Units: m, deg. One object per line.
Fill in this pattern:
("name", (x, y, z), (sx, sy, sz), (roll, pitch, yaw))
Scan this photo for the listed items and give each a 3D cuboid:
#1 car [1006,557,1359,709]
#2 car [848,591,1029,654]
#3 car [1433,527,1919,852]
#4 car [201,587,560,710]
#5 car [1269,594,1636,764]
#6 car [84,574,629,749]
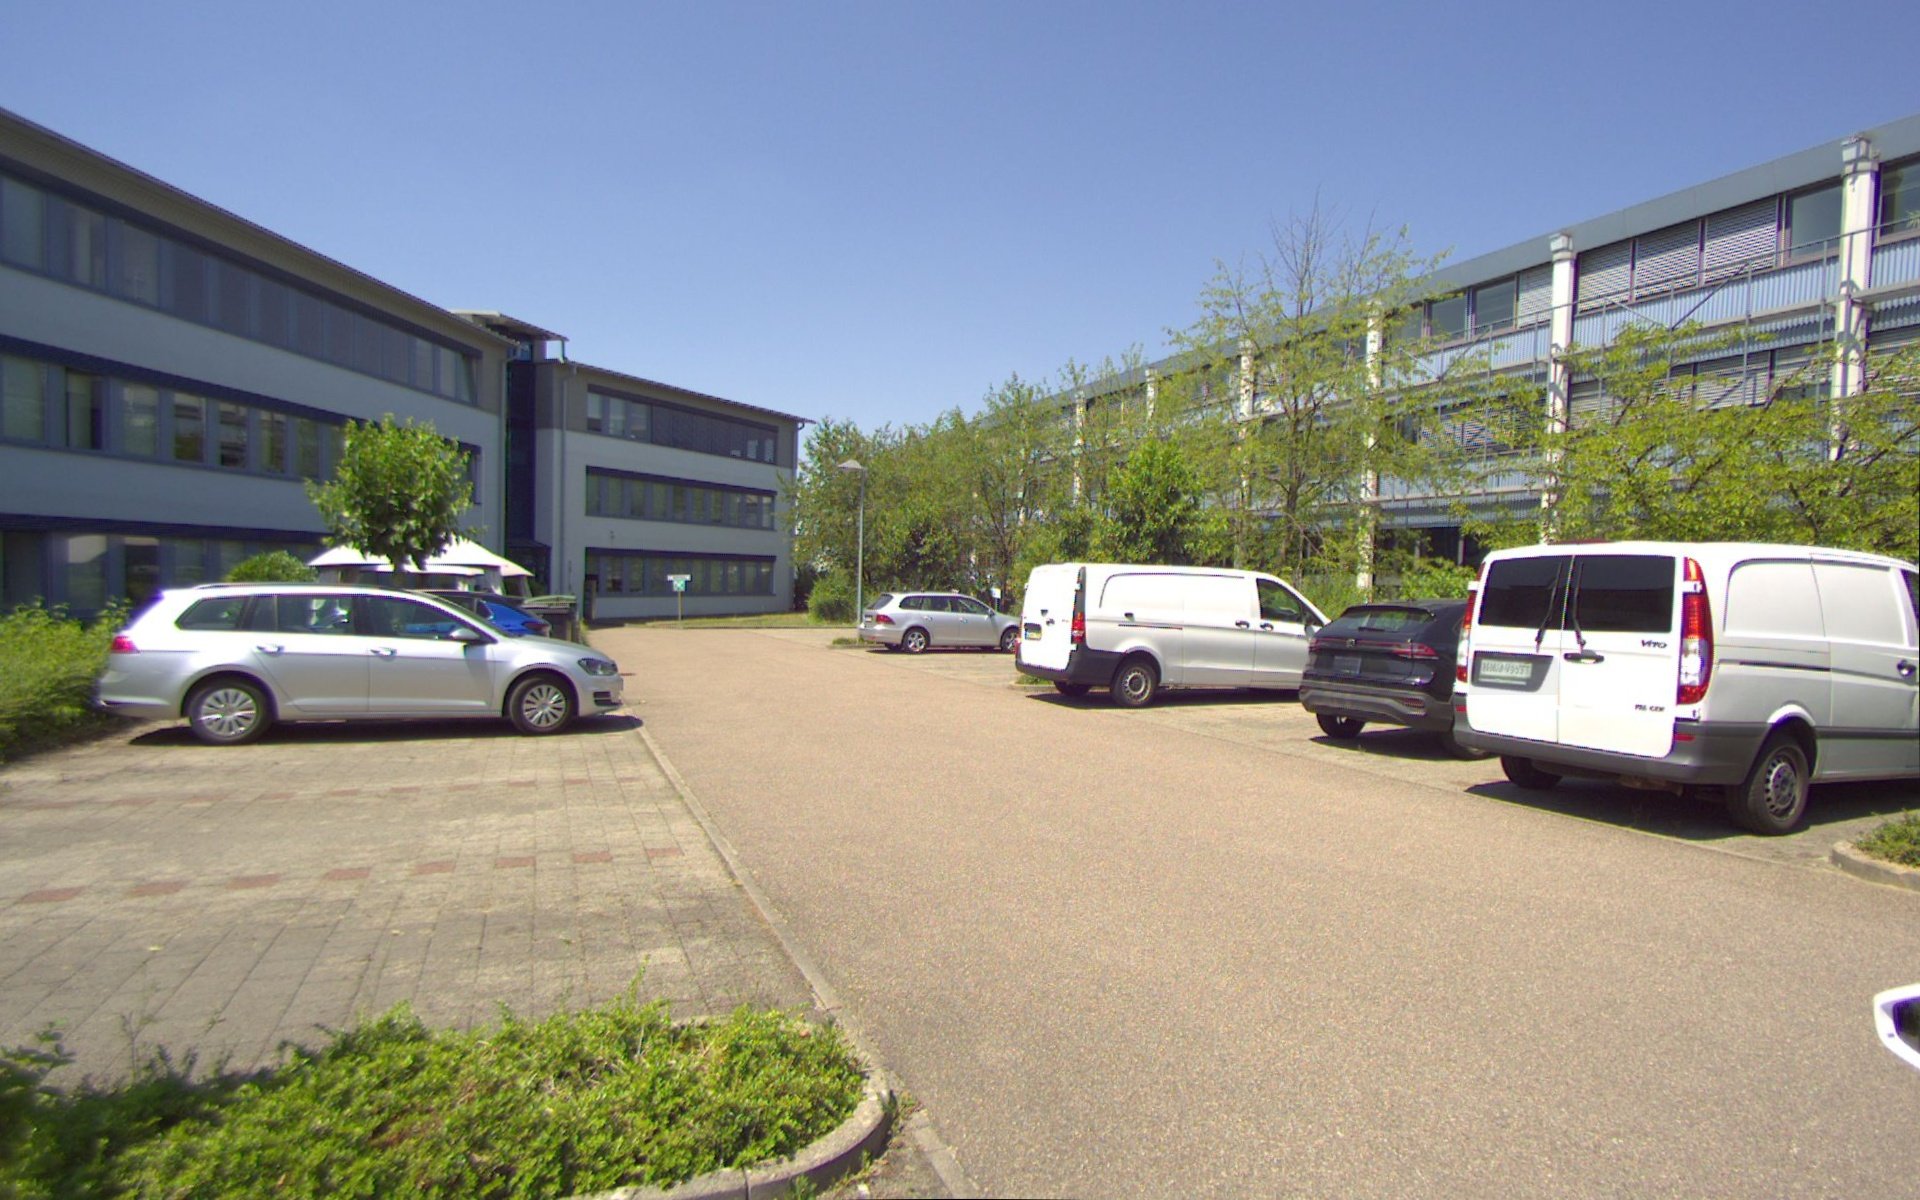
("car", (3.206, 0.430, 14.446), (4.734, 1.916, 1.877), (1, 1, -23))
("car", (-0.544, 0.542, 24.845), (4.108, 1.425, 1.864), (1, 1, -21))
("car", (6.172, 0.546, 7.842), (4.743, 1.930, 1.907), (1, 0, -25))
("car", (-7.611, 0.578, 13.703), (3.940, 1.481, 1.990), (0, 1, -21))
("car", (5.324, 0.704, 10.731), (3.957, 1.496, 1.744), (0, 1, -33))
("car", (-5.815, 0.547, 10.326), (4.422, 1.492, 1.852), (1, 1, -24))
